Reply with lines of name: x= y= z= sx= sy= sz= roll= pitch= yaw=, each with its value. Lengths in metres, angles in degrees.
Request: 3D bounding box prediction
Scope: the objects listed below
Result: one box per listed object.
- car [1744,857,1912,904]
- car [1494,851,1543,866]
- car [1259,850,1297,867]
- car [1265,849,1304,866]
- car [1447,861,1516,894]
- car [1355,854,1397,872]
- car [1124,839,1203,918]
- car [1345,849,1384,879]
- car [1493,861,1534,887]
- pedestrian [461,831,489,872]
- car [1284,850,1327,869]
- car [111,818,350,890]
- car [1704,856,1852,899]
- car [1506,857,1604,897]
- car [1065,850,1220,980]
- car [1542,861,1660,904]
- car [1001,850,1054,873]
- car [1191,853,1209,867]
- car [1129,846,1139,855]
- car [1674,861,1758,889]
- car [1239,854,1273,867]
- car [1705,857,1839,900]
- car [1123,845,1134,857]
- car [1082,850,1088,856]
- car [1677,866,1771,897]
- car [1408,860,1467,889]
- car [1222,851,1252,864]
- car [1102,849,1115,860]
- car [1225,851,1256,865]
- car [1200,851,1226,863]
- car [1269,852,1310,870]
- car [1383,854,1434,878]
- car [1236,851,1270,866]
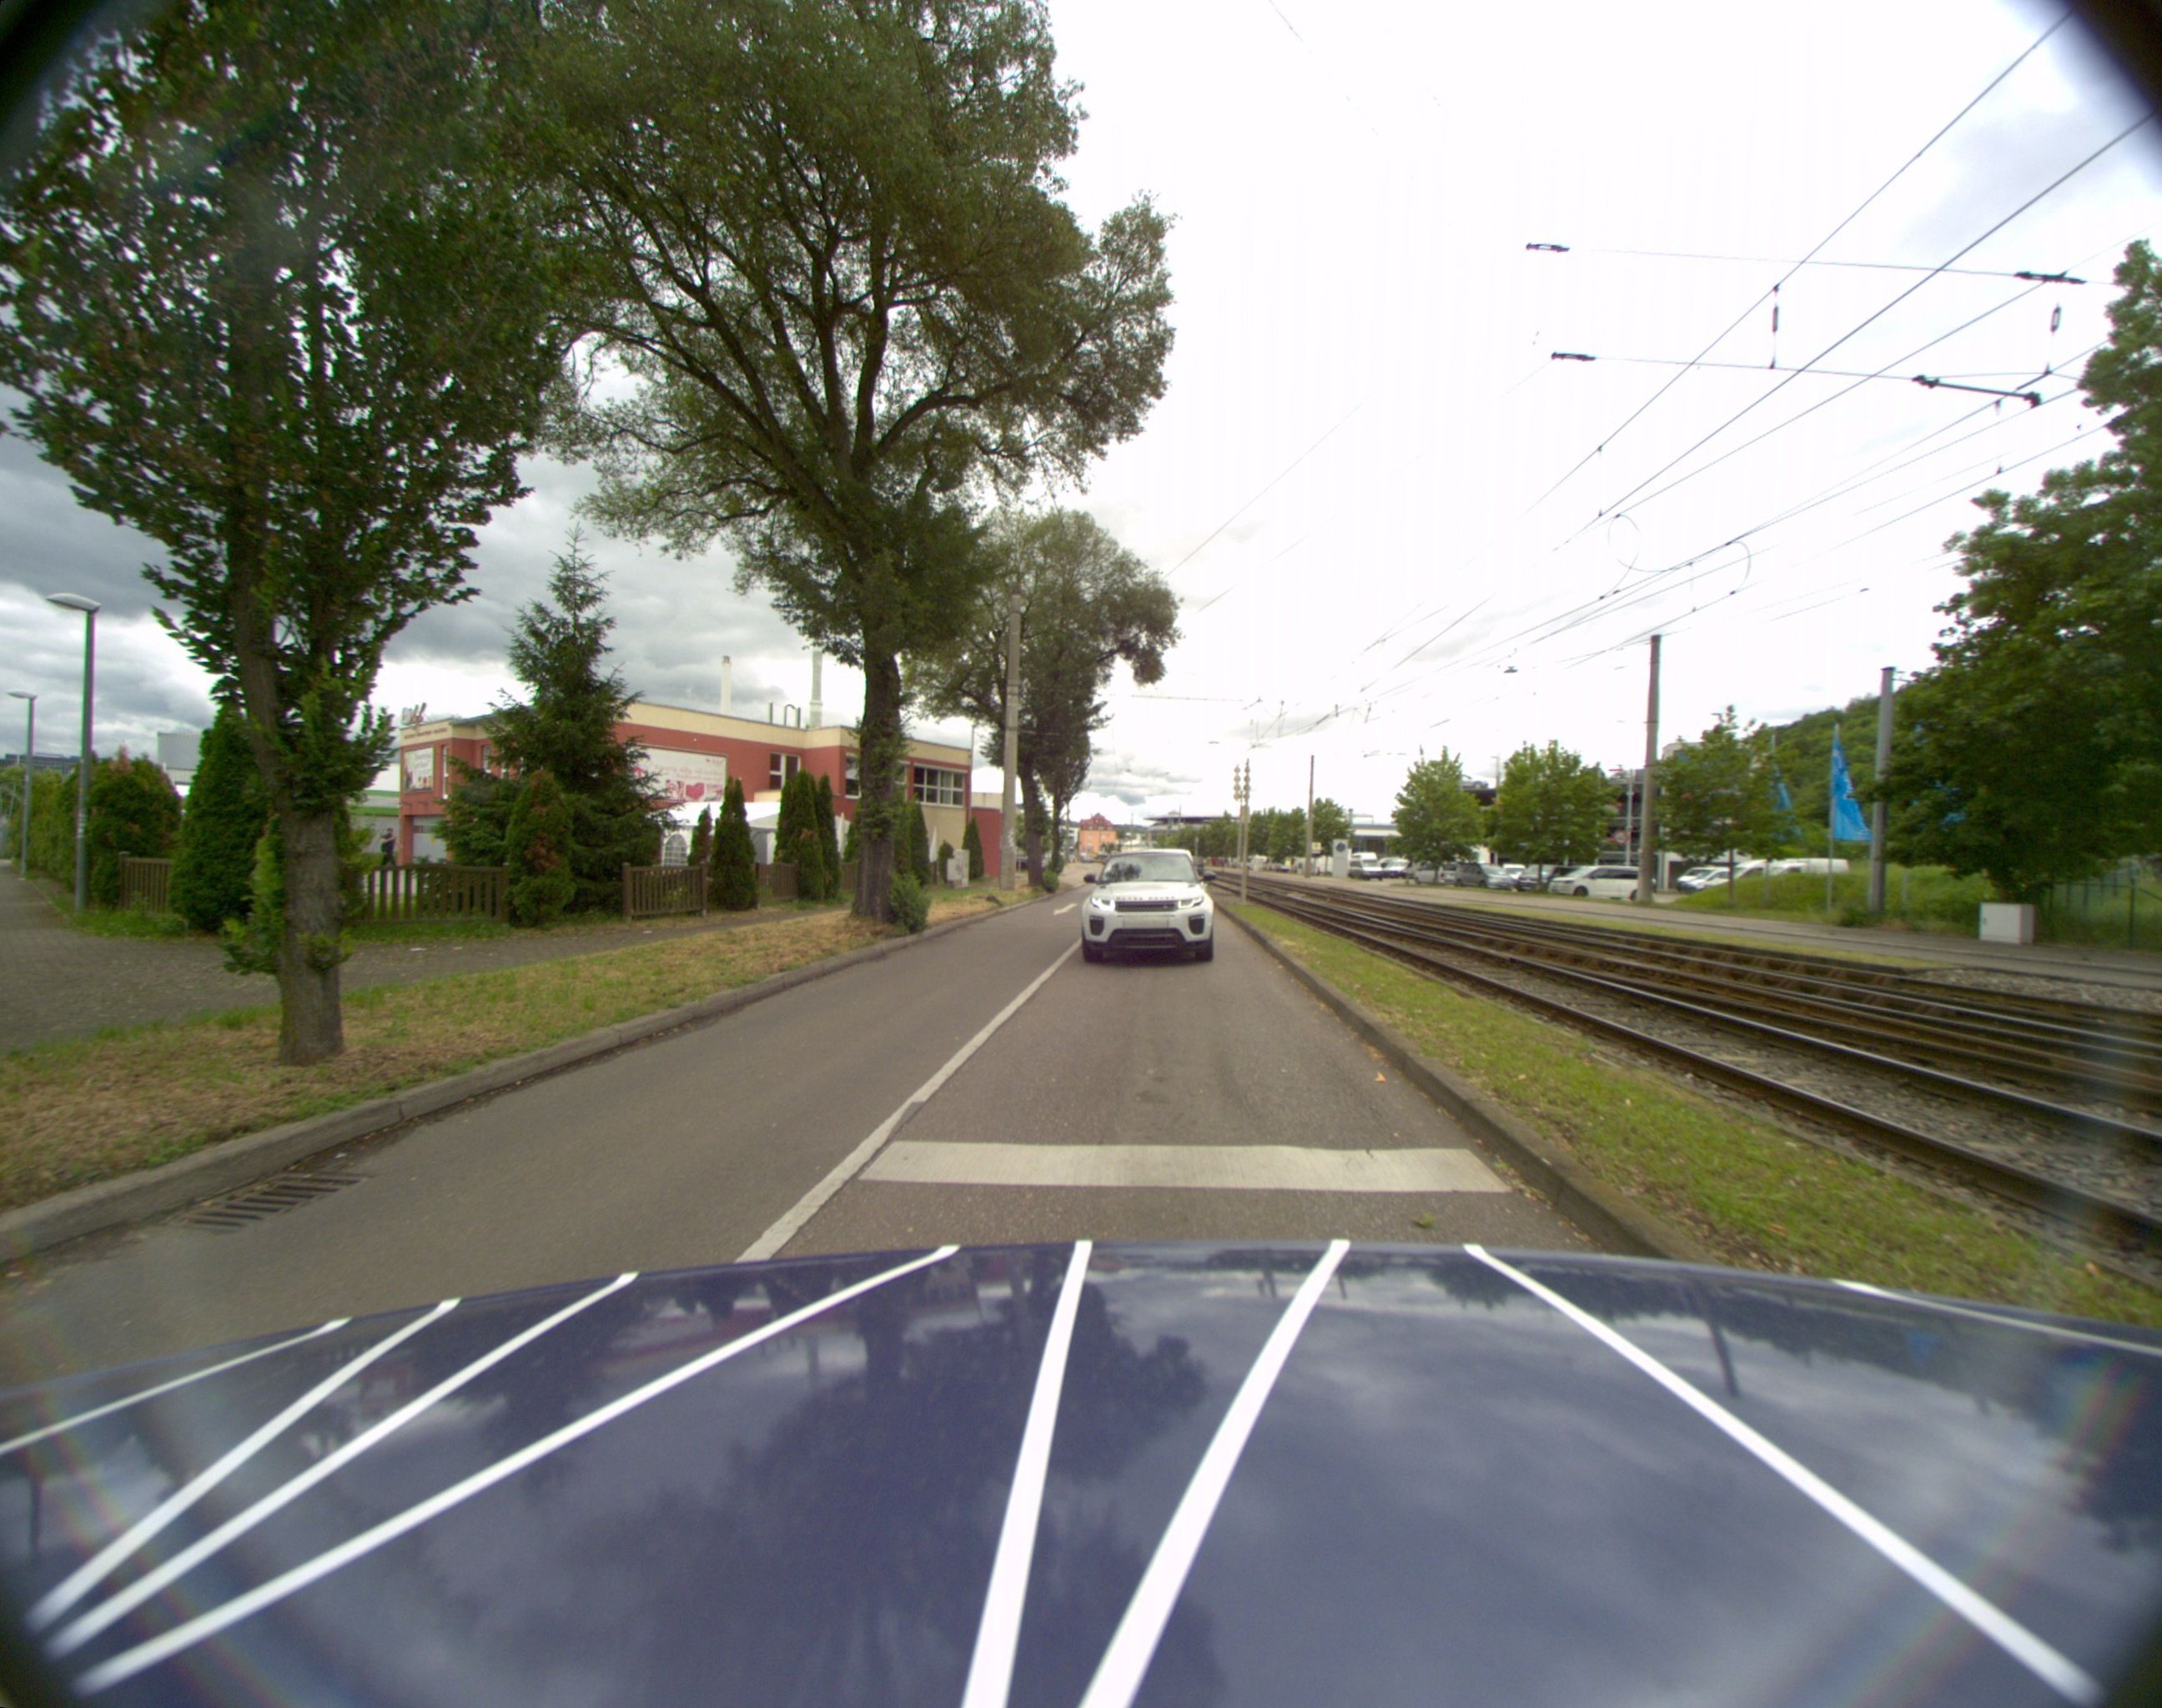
car: x=38.491 y=1.373 z=39.376 sx=5.848 sy=2.254 sz=2.057 roll=-1 pitch=1 yaw=27
car: x=55.622 y=0.543 z=96.720 sx=5.215 sy=1.826 sz=1.983 roll=-1 pitch=1 yaw=26
car: x=26.926 y=0.644 z=104.050 sx=4.637 sy=2.196 sz=2.108 roll=-2 pitch=1 yaw=-2
car: x=27.085 y=0.466 z=101.237 sx=4.637 sy=2.196 sz=2.108 roll=-2 pitch=1 yaw=-2
car: x=27.925 y=1.580 z=53.167 sx=2.141 sy=2.104 sz=4.775 roll=-2 pitch=1 yaw=-1
car: x=38.593 y=1.178 z=99.562 sx=4.634 sy=2.196 sz=2.109 roll=-2 pitch=1 yaw=5
car: x=2.414 y=0.623 z=21.980 sx=1.997 sy=1.990 sz=5.037 roll=1 pitch=0 yaw=7
car: x=30.086 y=1.038 z=80.837 sx=2.319 sy=2.994 sz=6.160 roll=-2 pitch=1 yaw=5
car: x=34.723 y=1.565 z=61.118 sx=1.899 sy=1.882 sz=4.602 roll=-1 pitch=1 yaw=17
pedestrian: x=-26.165 y=-0.112 z=32.814 sx=0.867 sy=1.751 sz=0.599 roll=-2 pitch=1 yaw=-41
car: x=27.616 y=0.659 z=93.622 sx=4.637 sy=2.196 sz=2.108 roll=-2 pitch=1 yaw=-2
car: x=-23.129 y=-0.024 z=20.938 sx=1.853 sy=1.740 sz=4.001 roll=-2 pitch=1 yaw=6
car: x=39.312 y=1.322 z=43.075 sx=5.837 sy=2.254 sz=2.057 roll=-1 pitch=1 yaw=27
car: x=29.156 y=1.418 z=46.840 sx=4.772 sy=2.254 sz=1.980 roll=-2 pitch=1 yaw=2
car: x=1.003 y=0.807 z=12.114 sx=1.998 sy=1.680 sz=4.270 roll=-1 pitch=0 yaw=5
car: x=29.418 y=1.597 z=43.120 sx=5.267 sy=2.254 sz=2.000 roll=-2 pitch=1 yaw=2
car: x=-4.227 y=0.597 z=60.235 sx=3.997 sy=1.636 sz=1.896 roll=-2 pitch=1 yaw=-1
car: x=17.093 y=0.831 z=109.033 sx=1.904 sy=1.708 sz=4.136 roll=6 pitch=2 yaw=2
car: x=13.061 y=-0.892 z=187.884 sx=1.999 sy=2.002 sz=3.999 roll=-2 pitch=1 yaw=-1
car: x=45.096 y=1.507 z=54.094 sx=4.226 sy=1.826 sz=1.983 roll=-1 pitch=1 yaw=24
car: x=26.706 y=0.915 z=115.816 sx=4.637 sy=1.829 sz=2.108 roll=-2 pitch=1 yaw=-2
car: x=41.491 y=1.490 z=45.822 sx=5.650 sy=2.446 sz=1.983 roll=-1 pitch=1 yaw=24
car: x=11.981 y=-0.673 z=191.884 sx=2.409 sy=2.931 sz=4.749 roll=-2 pitch=1 yaw=3
car: x=1.305 y=-0.229 z=251.884 sx=1.999 sy=2.002 sz=3.999 roll=-2 pitch=1 yaw=-1
car: x=41.385 y=1.780 z=49.009 sx=4.226 sy=1.826 sz=1.983 roll=-1 pitch=1 yaw=24
car: x=27.785 y=1.550 z=59.456 sx=2.141 sy=2.104 sz=4.774 roll=-2 pitch=1 yaw=-3
car: x=26.844 y=0.615 z=130.713 sx=4.637 sy=2.196 sz=2.108 roll=-2 pitch=1 yaw=-2
car: x=4.332 y=0.046 z=118.306 sx=1.868 sy=1.740 sz=4.000 roll=-2 pitch=1 yaw=1
car: x=26.890 y=0.632 z=128.262 sx=4.637 sy=2.196 sz=2.108 roll=-2 pitch=1 yaw=-2
car: x=25.952 y=0.498 z=149.288 sx=4.637 sy=2.196 sz=2.108 roll=-2 pitch=1 yaw=-2
car: x=27.057 y=0.931 z=98.791 sx=4.637 sy=2.196 sz=2.108 roll=-2 pitch=1 yaw=-2
car: x=39.125 y=1.436 z=90.778 sx=6.056 sy=2.607 sz=2.316 roll=-2 pitch=1 yaw=-28
car: x=26.734 y=0.713 z=118.222 sx=4.637 sy=2.196 sz=2.108 roll=-2 pitch=1 yaw=-2
